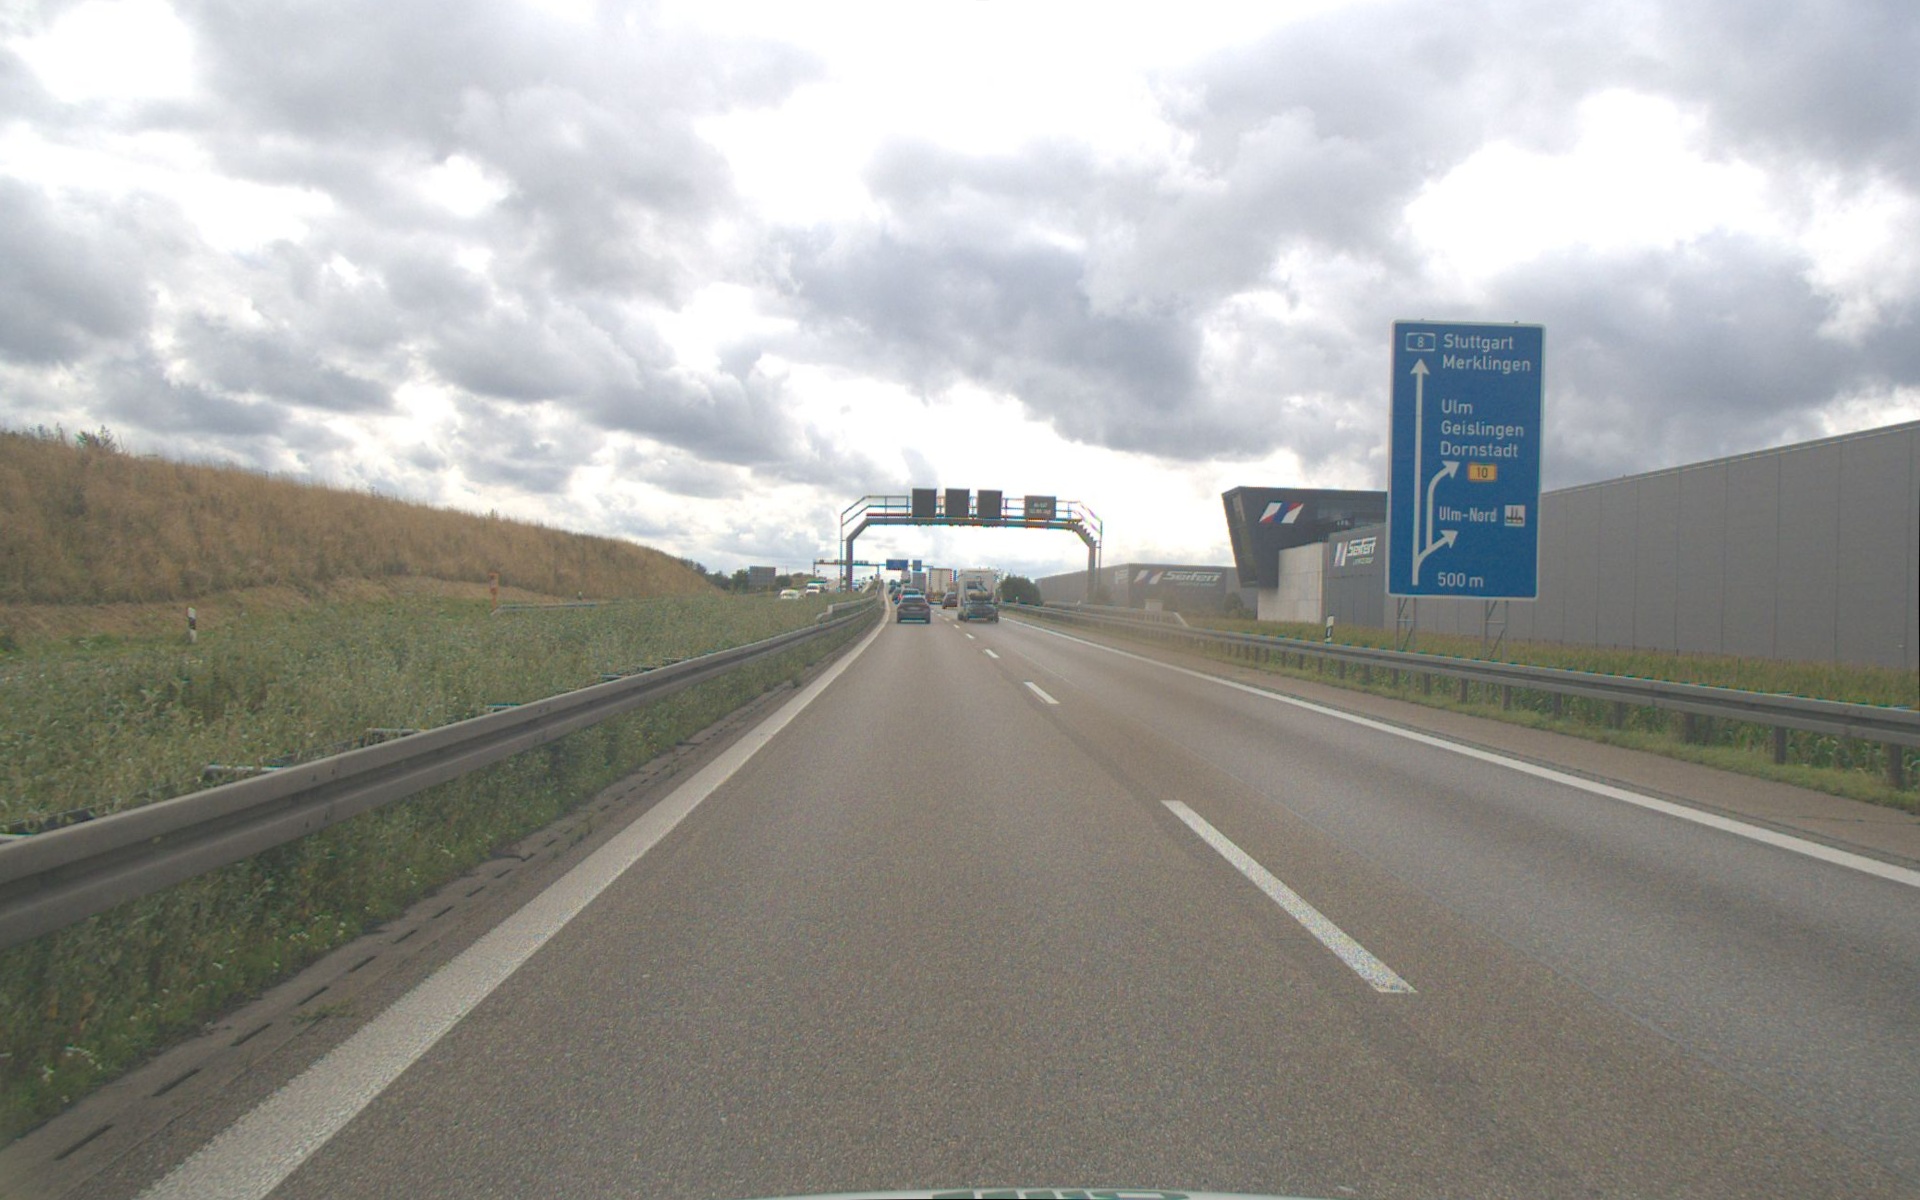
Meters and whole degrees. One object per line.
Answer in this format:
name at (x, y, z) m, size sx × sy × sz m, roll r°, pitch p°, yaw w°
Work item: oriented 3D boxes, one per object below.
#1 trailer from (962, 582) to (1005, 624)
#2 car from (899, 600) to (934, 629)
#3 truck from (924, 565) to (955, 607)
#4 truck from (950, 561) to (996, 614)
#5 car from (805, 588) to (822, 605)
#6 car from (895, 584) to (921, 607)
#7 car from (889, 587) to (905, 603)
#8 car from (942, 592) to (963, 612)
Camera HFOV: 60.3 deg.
trailer at (1.254, 0.175, 90.295) m, size 2.290 × 2.174 × 4.000 m, roll 1°, pitch 0°, yaw 0°
car at (-2.288, 0.746, 87.154) m, size 1.710 × 1.478 × 4.000 m, roll 1°, pitch 0°, yaw 0°
truck at (-2.376, -1.548, 190.972) m, size 3.272 × 4.613 × 8.013 m, roll 1°, pitch 0°, yaw -2°
truck at (0.741, -0.699, 97.662) m, size 2.432 × 3.002 × 5.812 m, roll 1°, pitch 0°, yaw -2°
car at (-18.695, -0.432, 211.476) m, size 1.953 × 2.049 × 4.706 m, roll 1°, pitch 0°, yaw -2°
car at (-4.076, -0.357, 130.586) m, size 1.906 × 1.714 × 4.000 m, roll 1°, pitch 0°, yaw 0°
car at (-7.795, -0.606, 204.806) m, size 1.903 × 1.806 × 3.696 m, roll 1°, pitch 0°, yaw 0°
car at (-0.681, 0.213, 146.684) m, size 1.764 × 1.714 × 3.999 m, roll 1°, pitch 0°, yaw -1°
